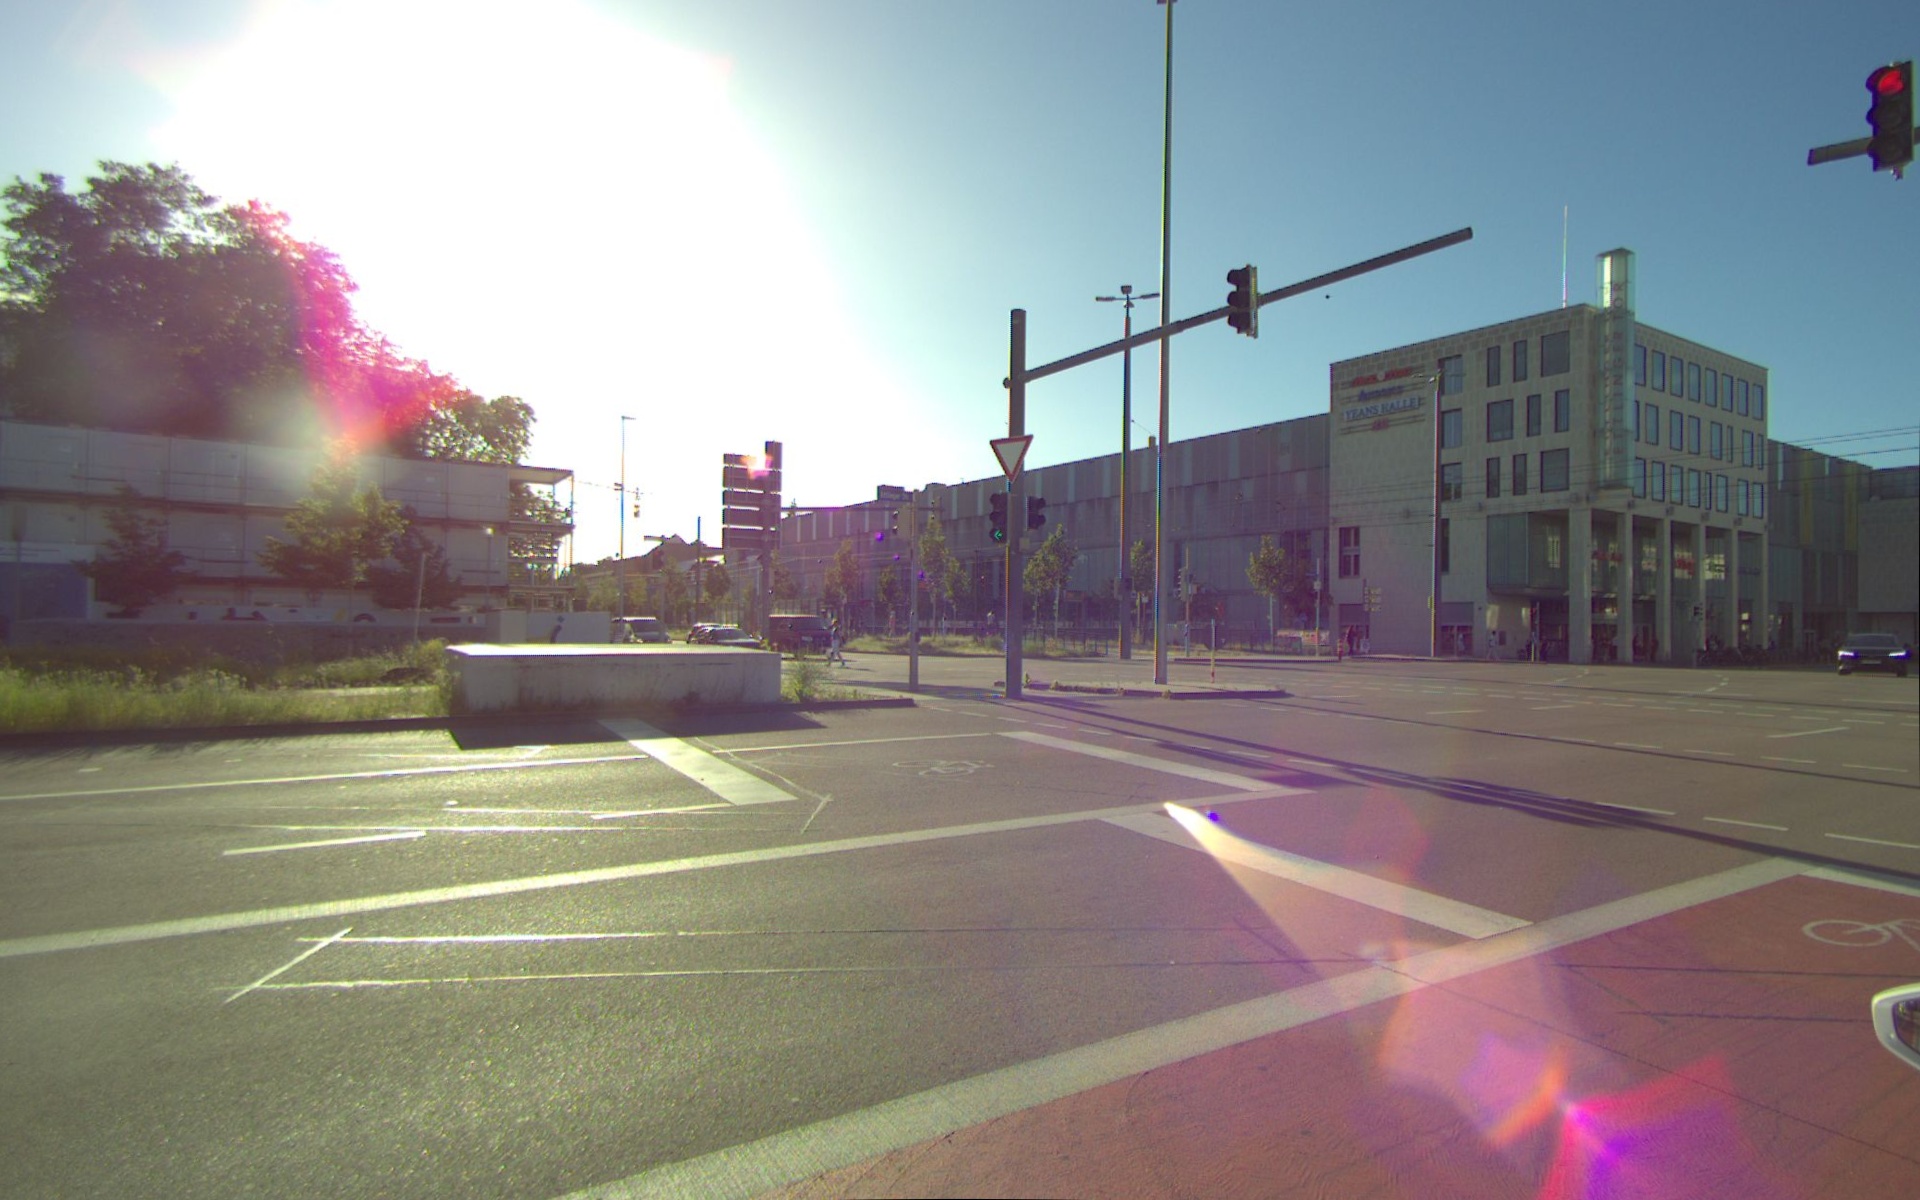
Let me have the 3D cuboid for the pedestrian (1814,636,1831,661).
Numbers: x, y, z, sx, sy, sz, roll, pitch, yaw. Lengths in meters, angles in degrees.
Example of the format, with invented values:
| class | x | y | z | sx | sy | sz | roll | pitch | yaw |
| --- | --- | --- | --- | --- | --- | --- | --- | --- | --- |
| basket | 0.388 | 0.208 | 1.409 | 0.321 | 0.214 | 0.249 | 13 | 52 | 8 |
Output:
| class | x | y | z | sx | sy | sz | roll | pitch | yaw |
| --- | --- | --- | --- | --- | --- | --- | --- | --- | --- |
| pedestrian | 56.067 | 3.135 | 65.275 | 0.731 | 1.629 | 0.623 | 0 | -1 | 32 |

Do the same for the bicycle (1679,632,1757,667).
| class | x | y | z | sx | sy | sz | roll | pitch | yaw |
| --- | --- | --- | --- | --- | --- | --- | --- | --- | --- |
| bicycle | 45.581 | 2.956 | 60.488 | 1.077 | 2.040 | 3.593 | 1 | -2 | -38 |

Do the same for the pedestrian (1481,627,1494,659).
| class | x | y | z | sx | sy | sz | roll | pitch | yaw |
| --- | --- | --- | --- | --- | --- | --- | --- | --- | --- |
| pedestrian | 33.216 | 2.705 | 63.248 | 0.512 | 2.040 | 0.618 | 1 | -1 | -39 |

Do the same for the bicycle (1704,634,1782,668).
| class | x | y | z | sx | sy | sz | roll | pitch | yaw |
| --- | --- | --- | --- | --- | --- | --- | --- | --- | --- |
| bicycle | 48.058 | 3.092 | 61.723 | 1.075 | 2.040 | 3.598 | 1 | -2 | -34 |

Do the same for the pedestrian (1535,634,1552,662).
| class | x | y | z | sx | sy | sz | roll | pitch | yaw |
| --- | --- | --- | --- | --- | --- | --- | --- | --- | --- |
| pedestrian | 34.256 | 2.814 | 58.949 | 0.646 | 1.629 | 0.619 | 1 | -1 | -32 |

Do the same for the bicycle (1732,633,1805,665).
| class | x | y | z | sx | sy | sz | roll | pitch | yaw |
| --- | --- | --- | --- | --- | --- | --- | --- | --- | --- |
| bicycle | 52.821 | 3.181 | 65.697 | 0.893 | 2.040 | 3.598 | 1 | -2 | -34 |

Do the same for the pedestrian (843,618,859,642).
| class | x | y | z | sx | sy | sz | roll | pitch | yaw |
| --- | --- | --- | --- | --- | --- | --- | --- | --- | --- |
| pedestrian | -7.137 | 1.967 | 65.878 | 0.718 | 1.522 | 0.794 | 1 | -1 | -39 |

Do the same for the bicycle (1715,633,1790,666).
| class | x | y | z | sx | sy | sz | roll | pitch | yaw |
| --- | --- | --- | --- | --- | --- | --- | --- | --- | --- |
| bicycle | 51.009 | 3.167 | 64.704 | 1.075 | 2.040 | 3.598 | 1 | -2 | -34 |

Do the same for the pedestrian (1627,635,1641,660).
| class | x | y | z | sx | sy | sz | roll | pitch | yaw |
| --- | --- | --- | --- | --- | --- | --- | --- | --- | --- |
| pedestrian | 44.177 | 3.084 | 65.842 | 0.613 | 1.629 | 0.653 | 0 | -1 | 24 |

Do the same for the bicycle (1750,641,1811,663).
| class | x | y | z | sx | sy | sz | roll | pitch | yaw |
| --- | --- | --- | --- | --- | --- | --- | --- | --- | --- |
| bicycle | 55.047 | 3.476 | 67.406 | 0.893 | 1.419 | 3.032 | 1 | -2 | -34 |

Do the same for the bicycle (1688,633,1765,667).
| class | x | y | z | sx | sy | sz | roll | pitch | yaw |
| --- | --- | --- | --- | --- | --- | --- | --- | --- | --- |
| bicycle | 46.685 | 3.019 | 61.219 | 1.075 | 2.040 | 3.598 | 1 | -2 | -34 |

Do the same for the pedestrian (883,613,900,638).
| class | x | y | z | sx | sy | sz | roll | pitch | yaw |
| --- | --- | --- | --- | --- | --- | --- | --- | --- | --- |
| pedestrian | -4.160 | 1.536 | 60.729 | 0.718 | 1.522 | 0.794 | 1 | -1 | -39 |

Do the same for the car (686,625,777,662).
| class | x | y | z | sx | sy | sz | roll | pitch | yaw |
| --- | --- | --- | --- | --- | --- | --- | --- | --- | --- |
| car | -9.516 | 1.791 | 41.571 | 1.856 | 1.392 | 4.604 | 4 | -4 | -38 |

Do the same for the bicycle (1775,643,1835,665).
| class | x | y | z | sx | sy | sz | roll | pitch | yaw |
| --- | --- | --- | --- | --- | --- | --- | --- | --- | --- |
| bicycle | 58.700 | 3.749 | 69.819 | 0.893 | 1.419 | 3.032 | 1 | -2 | -34 |

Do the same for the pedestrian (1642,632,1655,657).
| class | x | y | z | sx | sy | sz | roll | pitch | yaw |
| --- | --- | --- | --- | --- | --- | --- | --- | --- | --- |
| pedestrian | 45.085 | 2.926 | 65.764 | 0.613 | 1.629 | 0.653 | 0 | -1 | 24 |

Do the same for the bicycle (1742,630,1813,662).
| class | x | y | z | sx | sy | sz | roll | pitch | yaw |
| --- | --- | --- | --- | --- | --- | --- | --- | --- | --- |
| bicycle | 54.304 | 3.045 | 66.774 | 0.893 | 2.040 | 3.598 | 1 | -2 | -34 |

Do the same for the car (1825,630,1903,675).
| class | x | y | z | sx | sy | sz | roll | pitch | yaw |
| --- | --- | --- | --- | --- | --- | --- | --- | --- | --- |
| car | 32.877 | 1.870 | 36.628 | 1.970 | 1.550 | 4.016 | -1 | -2 | 40 |

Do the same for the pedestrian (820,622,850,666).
| class | x | y | z | sx | sy | sz | roll | pitch | yaw |
| --- | --- | --- | --- | --- | --- | --- | --- | --- | --- |
| pedestrian | -4.450 | 1.550 | 35.734 | 0.796 | 1.522 | 0.716 | 1 | -1 | -40 |

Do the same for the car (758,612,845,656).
| class | x | y | z | sx | sy | sz | roll | pitch | yaw |
| --- | --- | --- | --- | --- | --- | --- | --- | --- | --- |
| car | -7.250 | 1.554 | 45.566 | 1.856 | 1.834 | 4.604 | 4 | -4 | -38 |

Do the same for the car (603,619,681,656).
| class | x | y | z | sx | sy | sz | roll | pitch | yaw |
| --- | --- | --- | --- | --- | --- | --- | --- | --- | --- |
| car | -15.553 | 1.826 | 49.031 | 2.119 | 1.631 | 4.604 | 4 | -4 | -38 |

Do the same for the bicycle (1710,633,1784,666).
| class | x | y | z | sx | sy | sz | roll | pitch | yaw |
| --- | --- | --- | --- | --- | --- | --- | --- | --- | --- |
| bicycle | 50.104 | 3.126 | 64.004 | 1.075 | 2.040 | 3.598 | 1 | -2 | -34 |

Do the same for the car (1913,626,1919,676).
| class | x | y | z | sx | sy | sz | roll | pitch | yaw |
| --- | --- | --- | --- | --- | --- | --- | --- | --- | --- |
| car | 26.497 | 1.391 | 25.514 | 1.963 | 1.374 | 4.641 | -1 | 0 | 26 |

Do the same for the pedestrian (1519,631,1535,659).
| class | x | y | z | sx | sy | sz | roll | pitch | yaw |
| --- | --- | --- | --- | --- | --- | --- | --- | --- | --- |
| pedestrian | 33.793 | 2.684 | 59.848 | 0.646 | 1.629 | 0.619 | 1 | -1 | -32 |

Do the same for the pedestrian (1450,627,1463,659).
| class | x | y | z | sx | sy | sz | roll | pitch | yaw |
| --- | --- | --- | --- | --- | --- | --- | --- | --- | --- |
| pedestrian | 31.813 | 2.733 | 64.367 | 0.512 | 2.040 | 0.618 | 1 | -1 | -39 |

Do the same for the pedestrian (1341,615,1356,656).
| class | x | y | z | sx | sy | sz | roll | pitch | yaw |
| --- | --- | --- | --- | --- | --- | --- | --- | --- | --- |
| pedestrian | 19.427 | 1.788 | 50.209 | 0.620 | 2.040 | 0.509 | 1 | -1 | -44 |
